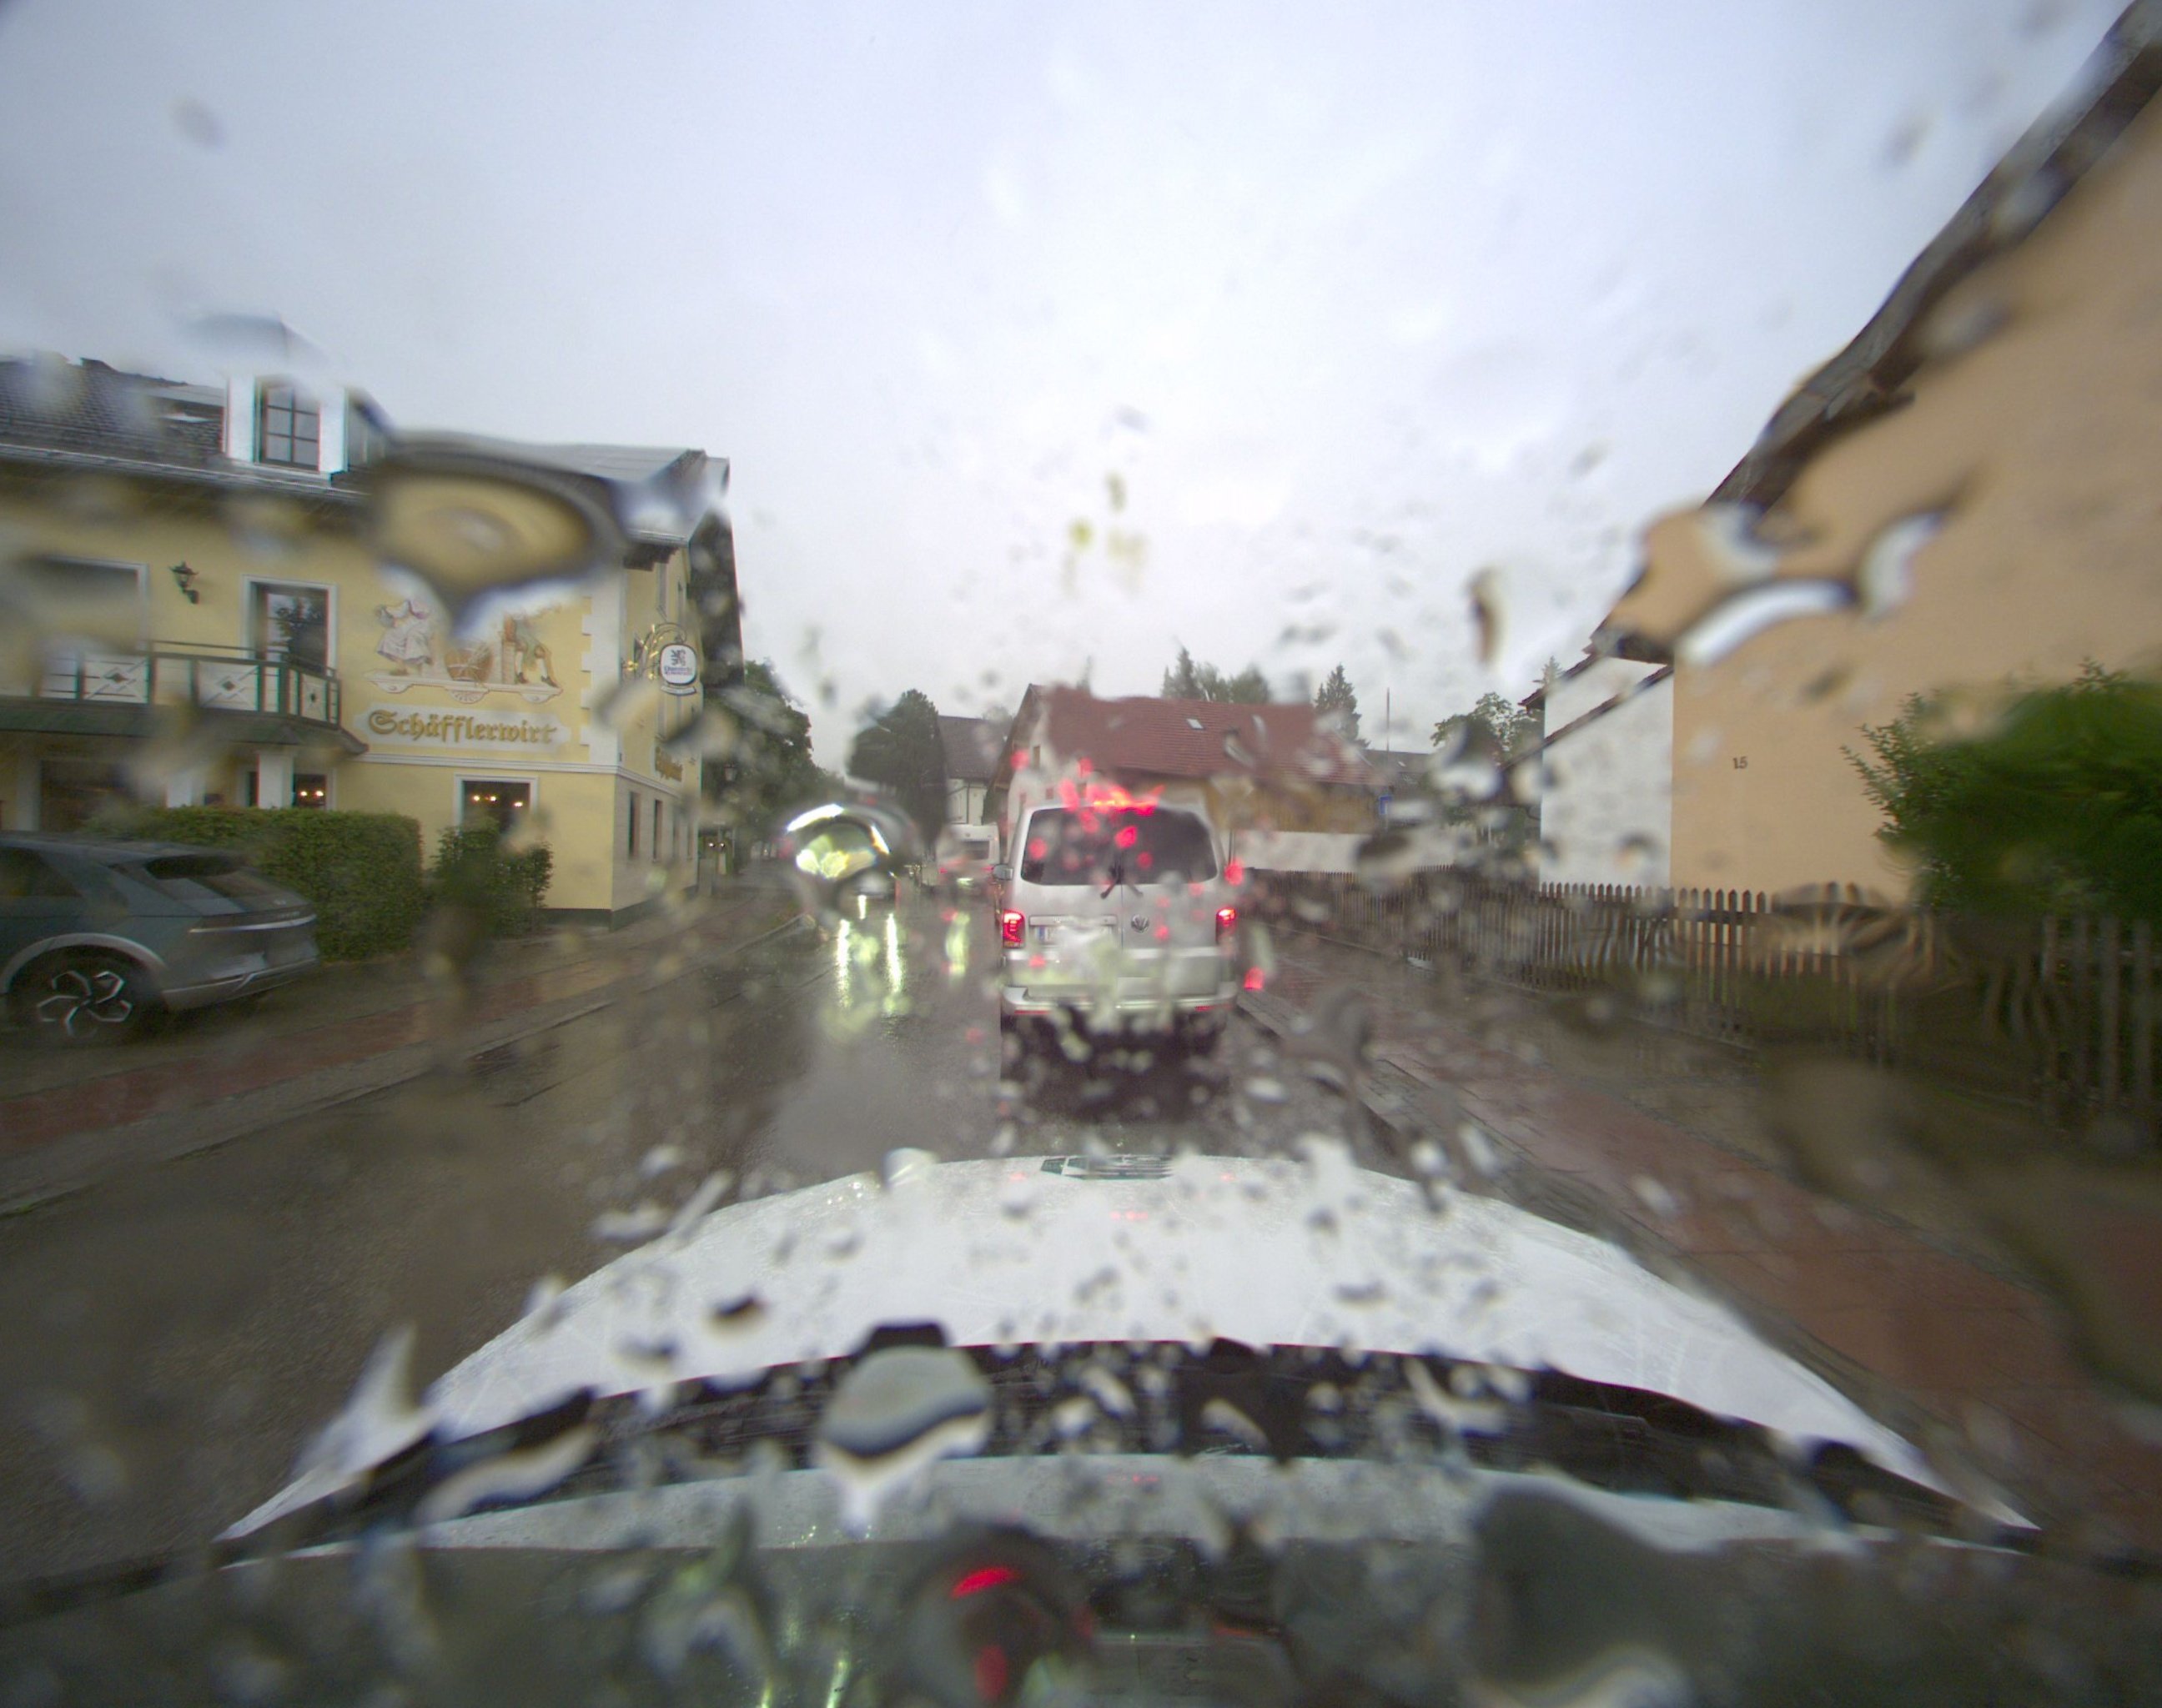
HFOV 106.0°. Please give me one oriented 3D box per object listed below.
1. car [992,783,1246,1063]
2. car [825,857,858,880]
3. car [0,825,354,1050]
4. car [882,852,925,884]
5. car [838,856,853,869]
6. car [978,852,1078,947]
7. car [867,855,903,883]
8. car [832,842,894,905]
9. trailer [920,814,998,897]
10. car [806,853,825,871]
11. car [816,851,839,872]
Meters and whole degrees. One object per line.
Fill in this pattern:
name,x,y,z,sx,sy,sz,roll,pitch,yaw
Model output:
car,0.314,0.499,8.306,1.770,1.963,5.074,-1,0,1
car,-15.489,0.894,52.596,1.867,1.359,4.455,-1,1,-18
car,-9.140,0.579,6.530,4.491,1.567,1.827,4,1,-21
car,-11.540,0.872,52.701,2.175,1.899,4.983,1,0,-19
car,-37.429,1.404,129.343,2.175,1.899,4.983,1,0,-19
car,-1.106,0.795,16.712,1.705,1.584,4.678,-2,1,-4
car,-14.661,1.100,60.811,2.175,1.899,4.983,1,0,-19
car,-7.479,0.649,28.211,1.853,1.971,4.679,-1,-1,-14
trailer,-4.874,0.057,31.605,2.275,2.904,6.099,0,0,-15
car,-29.499,0.872,90.680,1.867,1.758,4.457,-3,1,-17
car,-22.446,0.640,72.144,1.867,1.758,4.457,-3,1,-17
